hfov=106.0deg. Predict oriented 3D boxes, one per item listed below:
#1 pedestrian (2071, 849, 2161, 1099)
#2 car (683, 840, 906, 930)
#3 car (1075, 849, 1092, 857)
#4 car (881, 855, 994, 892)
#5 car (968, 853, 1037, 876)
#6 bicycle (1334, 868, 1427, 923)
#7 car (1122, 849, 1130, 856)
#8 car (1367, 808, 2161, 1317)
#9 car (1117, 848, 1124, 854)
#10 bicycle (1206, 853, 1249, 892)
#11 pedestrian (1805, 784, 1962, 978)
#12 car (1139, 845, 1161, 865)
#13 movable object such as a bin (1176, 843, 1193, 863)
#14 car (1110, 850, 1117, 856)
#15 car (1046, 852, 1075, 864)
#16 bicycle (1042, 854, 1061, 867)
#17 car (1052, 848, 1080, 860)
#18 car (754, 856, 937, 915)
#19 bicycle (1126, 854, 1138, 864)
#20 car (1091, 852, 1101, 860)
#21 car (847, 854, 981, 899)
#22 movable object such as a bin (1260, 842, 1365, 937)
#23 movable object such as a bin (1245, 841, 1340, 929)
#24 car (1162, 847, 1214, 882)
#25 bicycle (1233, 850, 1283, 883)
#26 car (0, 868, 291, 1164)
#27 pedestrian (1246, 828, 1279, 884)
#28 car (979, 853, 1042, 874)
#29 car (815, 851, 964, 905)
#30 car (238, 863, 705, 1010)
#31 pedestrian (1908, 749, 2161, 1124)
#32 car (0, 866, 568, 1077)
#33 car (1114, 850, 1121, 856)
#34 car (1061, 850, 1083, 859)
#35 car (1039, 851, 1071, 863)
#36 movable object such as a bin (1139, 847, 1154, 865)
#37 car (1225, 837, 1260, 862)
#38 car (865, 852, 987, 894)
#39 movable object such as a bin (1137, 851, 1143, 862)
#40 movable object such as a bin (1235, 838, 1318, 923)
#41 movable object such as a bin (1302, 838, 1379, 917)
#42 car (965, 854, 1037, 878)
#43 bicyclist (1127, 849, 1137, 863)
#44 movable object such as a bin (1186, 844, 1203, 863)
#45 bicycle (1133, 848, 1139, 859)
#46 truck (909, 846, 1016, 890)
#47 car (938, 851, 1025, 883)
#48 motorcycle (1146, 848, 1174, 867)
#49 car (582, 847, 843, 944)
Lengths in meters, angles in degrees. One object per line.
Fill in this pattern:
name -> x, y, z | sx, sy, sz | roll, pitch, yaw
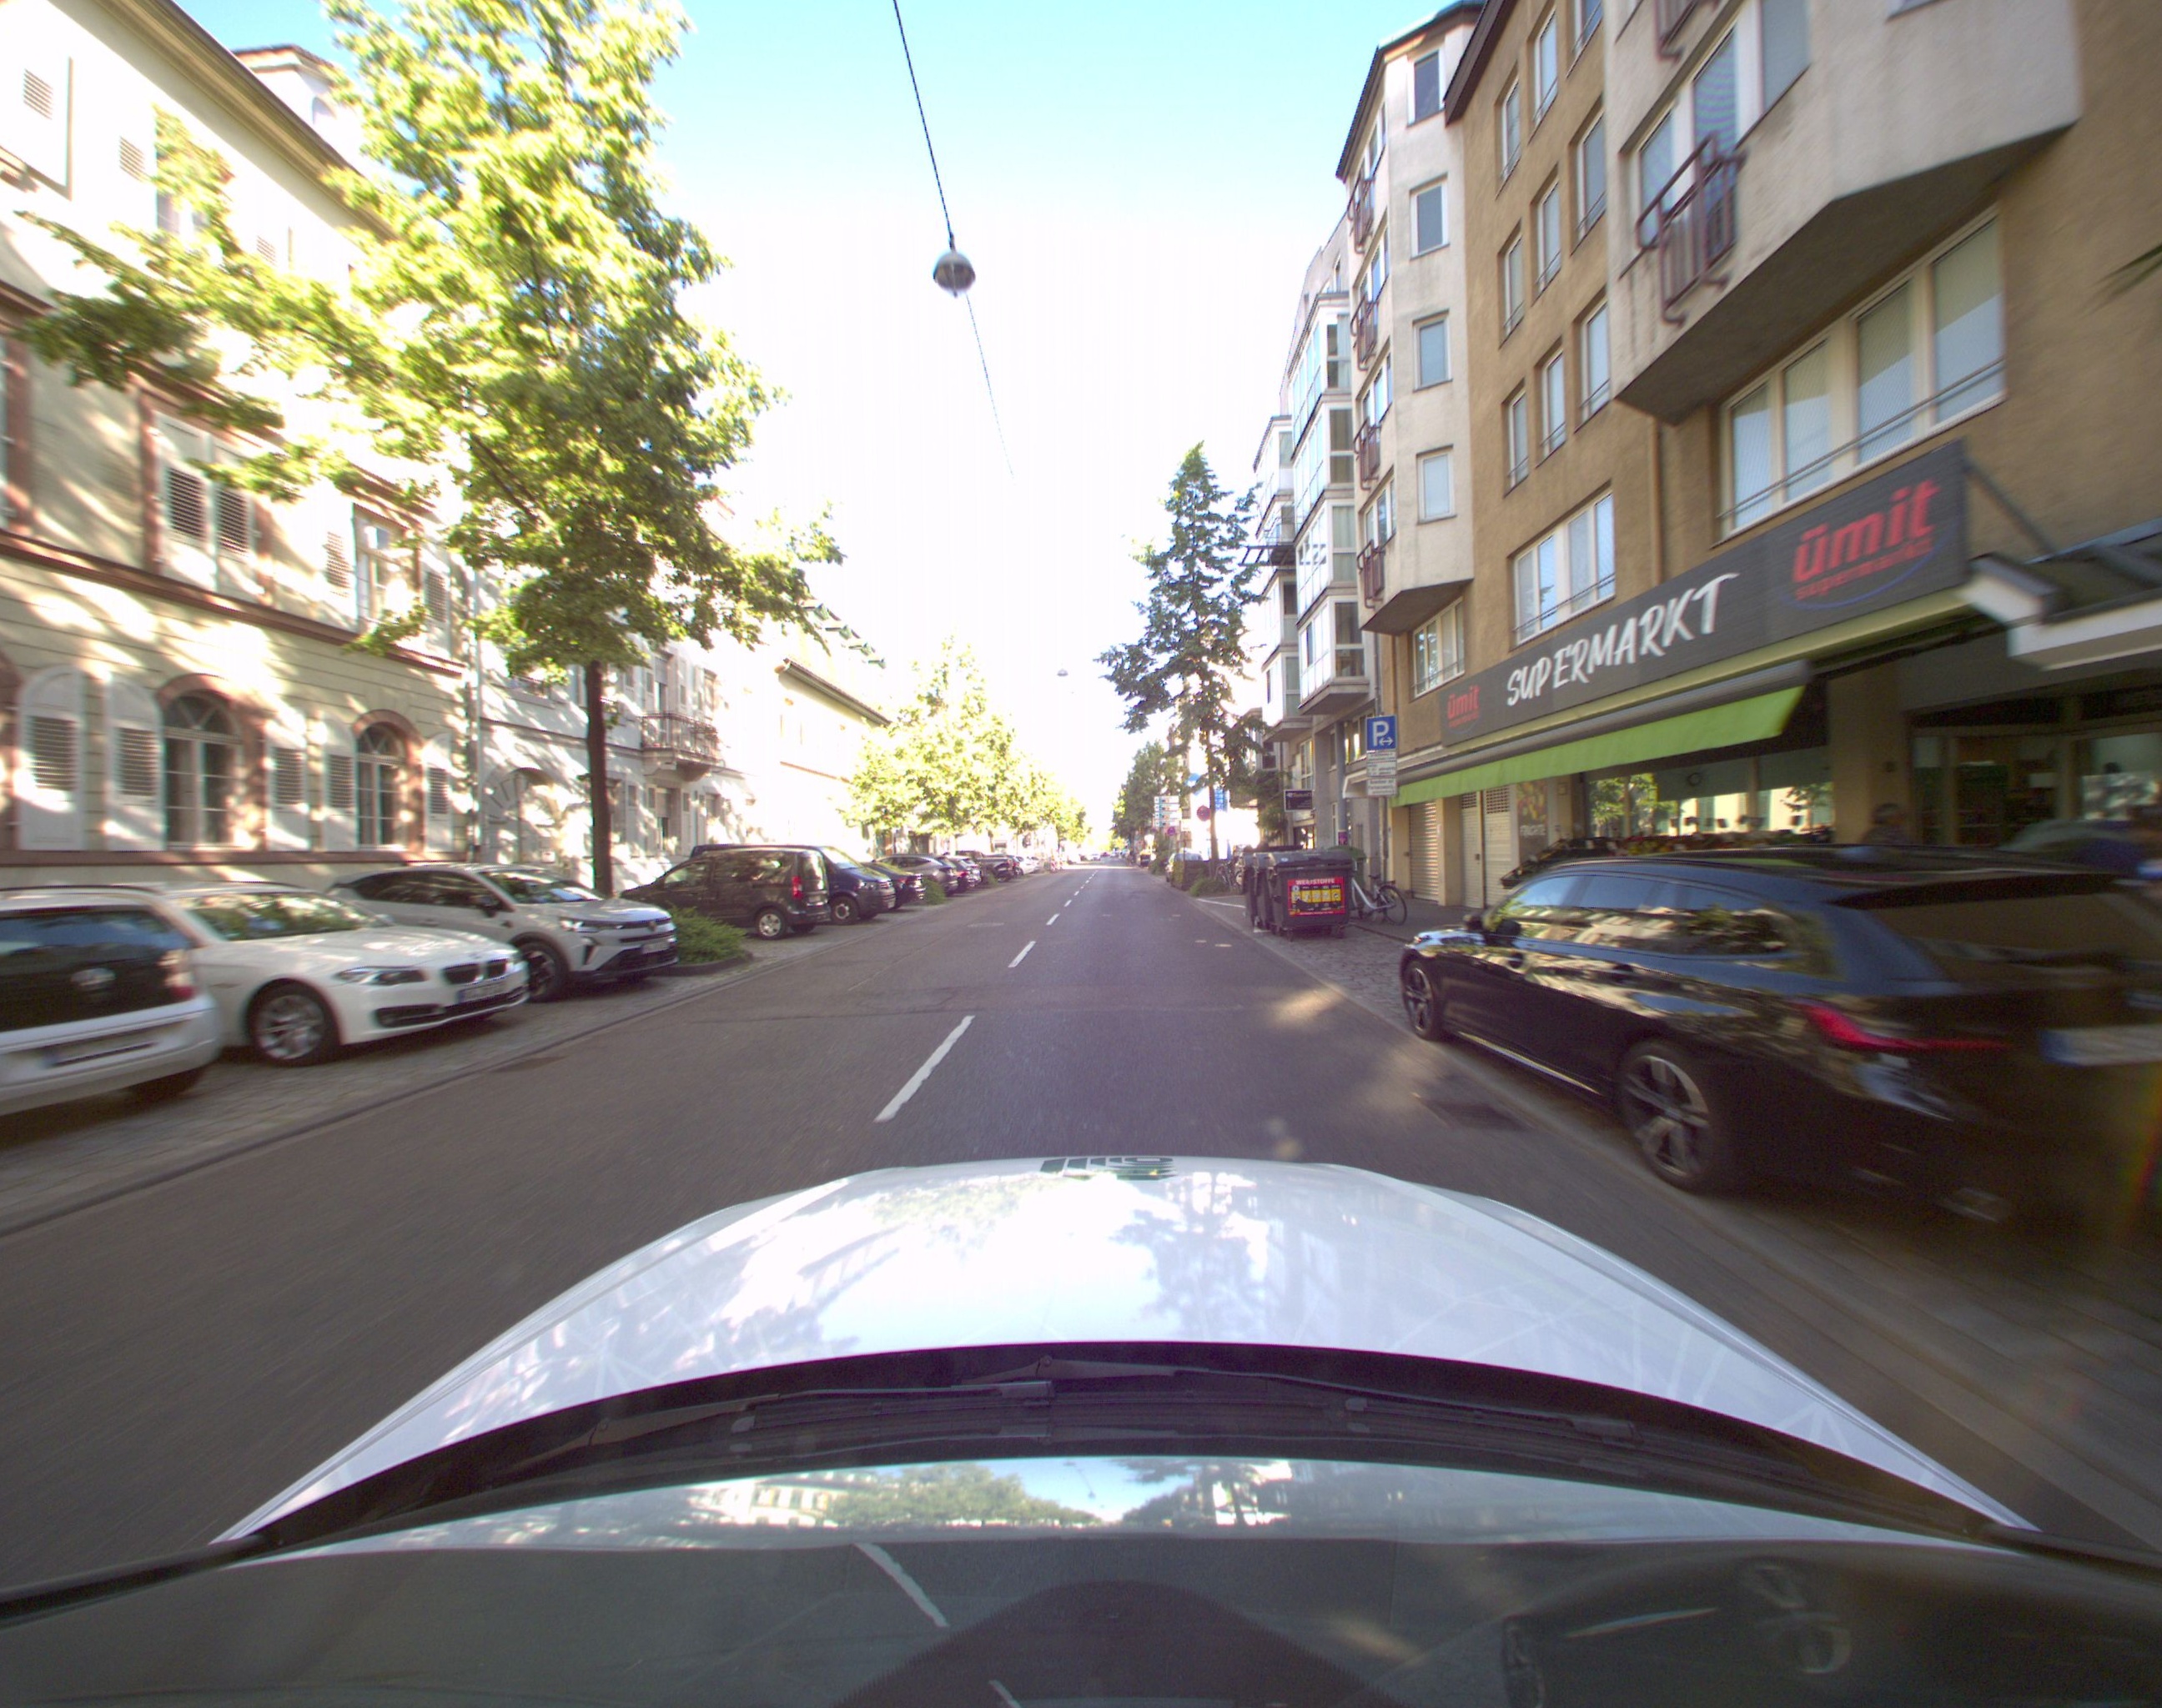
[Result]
pedestrian -> 5.281, 0.564, 3.984 | 0.438, 1.163, 0.504 | -3, 0, 41
car -> -6.829, 0.713, 19.738 | 4.660, 1.950, 1.918 | -2, 0, 3
car -> 0.567, -0.240, 192.928 | 3.973, 1.499, 2.000 | -3, 0, 1
car -> -6.408, 0.853, 36.630 | 4.660, 1.463, 1.810 | -2, 0, 3
car -> -5.476, 0.722, 57.536 | 4.667, 1.465, 1.807 | -2, 0, -1
bicycle -> 5.232, 0.715, 14.313 | 0.570, 0.872, 1.630 | -3, -1, -20
car -> 11.662, -0.387, 211.225 | 1.986, 1.508, 4.001 | -2, 0, 2
car -> 3.480, 0.617, 4.970 | 1.815, 1.472, 4.914 | -5, 0, 2
car -> 11.119, -0.826, 230.955 | 1.986, 1.508, 4.001 | -2, 0, 2
bicycle -> 4.660, 0.567, 26.051 | 0.607, 1.120, 2.051 | -9, 1, -7
pedestrian -> 7.233, 0.231, 7.379 | 0.614, 1.642, 0.763 | -3, 0, 4
car -> 6.577, 0.070, 78.358 | 1.815, 1.679, 4.604 | -5, 0, 3
movable object such as a bin -> 9.082, -0.075, 71.398 | 1.201, 1.627, 1.498 | -3, 0, 0
car -> 8.882, -0.341, 220.510 | 1.785, 1.411, 4.002 | -3, 0, 2
car -> -2.815, 0.529, 112.362 | 3.973, 1.390, 2.000 | -3, 0, 1
bicycle -> -2.899, 0.665, 80.396 | 1.852, 1.252, 0.599 | -1, 0, -6
car -> -2.294, -0.047, 125.269 | 3.966, 1.694, 2.004 | -3, 0, 6
car -> -6.578, 0.871, 23.067 | 4.628, 1.459, 1.684 | -2, 0, 1
bicycle -> 5.949, 0.561, 94.574 | 0.760, 1.059, 1.967 | -2, 0, 24
car -> 2.756, 0.381, 150.280 | 1.796, 1.435, 4.410 | -5, 0, 1
car -> -6.348, 0.847, 31.259 | 4.660, 1.519, 1.810 | -2, 0, 3
movable object such as a bin -> 3.805, 0.565, 13.529 | 1.393, 1.453, 1.146 | -3, 0, 2
movable object such as a bin -> 3.780, 0.534, 14.694 | 1.393, 1.453, 1.146 | -3, 0, 2
car -> 4.964, 0.430, 38.249 | 1.894, 1.412, 4.649 | -4, 0, 2
bicycle -> 6.472, 0.452, 29.796 | 0.686, 1.148, 1.665 | -3, 0, -40
car -> -8.039, 0.957, 5.146 | 4.323, 1.582, 1.810 | -2, 0, 1
pedestrian -> 6.481, 0.076, 29.042 | 0.916, 1.935, 0.766 | -2, 0, 27
car -> -5.406, 0.704, 62.607 | 4.667, 1.412, 1.807 | -2, 0, -1
car -> -6.614, 0.809, 28.414 | 4.660, 1.712, 1.810 | -2, 0, 3
car -> -7.358, 0.958, 10.128 | 4.444, 1.541, 1.919 | -2, 0, 5
pedestrian -> 4.841, 0.375, 4.097 | 0.611, 1.695, 0.766 | -3, 0, 17
car -> -7.509, 0.959, 7.375 | 4.450, 1.541, 1.917 | -2, 0, 1
car -> 9.377, -0.305, 209.191 | 1.816, 1.391, 4.302 | -5, 0, 1
car -> -1.626, 0.034, 148.040 | 3.973, 1.499, 2.000 | -3, 0, 1
car -> -3.377, 0.374, 106.584 | 3.973, 1.390, 2.000 | -3, 0, 1
movable object such as a bin -> 5.933, 0.159, 74.054 | 1.135, 1.562, 1.464 | -3, 0, 10
car -> 11.684, -0.345, 59.085 | 1.893, 1.648, 4.297 | -3, 0, 3
car -> -6.475, 0.784, 34.348 | 4.660, 1.572, 1.810 | -2, 0, 3
movable object such as a bin -> 6.583, 0.265, 91.169 | 0.619, 1.179, 0.711 | -3, 0, 0
movable object such as a bin -> 3.776, 0.495, 15.859 | 1.325, 1.542, 1.146 | -3, 0, 2
movable object such as a bin -> 5.019, 0.436, 15.829 | 1.073, 1.431, 1.296 | -3, 0, 2
car -> -5.357, 0.782, 54.843 | 4.667, 1.465, 1.807 | -2, 0, -1
bicyclist -> 5.886, 0.204, 94.495 | 0.760, 1.560, 1.046 | -2, 0, 24
movable object such as a bin -> 9.733, -0.049, 70.011 | 1.266, 1.530, 1.177 | -3, 0, 0
bicycle -> 7.492, -0.039, 110.208 | 0.558, 1.441, 1.629 | -8, 0, 2
truck -> -5.975, 0.709, 41.499 | 5.066, 1.938, 2.001 | -3, 0, 1
car -> -5.682, 0.721, 46.757 | 4.660, 1.693, 1.810 | -2, 0, 3
motorcycle -> 6.147, 0.275, 63.704 | 1.978, 1.330, 0.908 | -3, 0, -11
car -> -7.475, 0.810, 16.805 | 4.447, 1.772, 1.918 | -2, 0, 3
